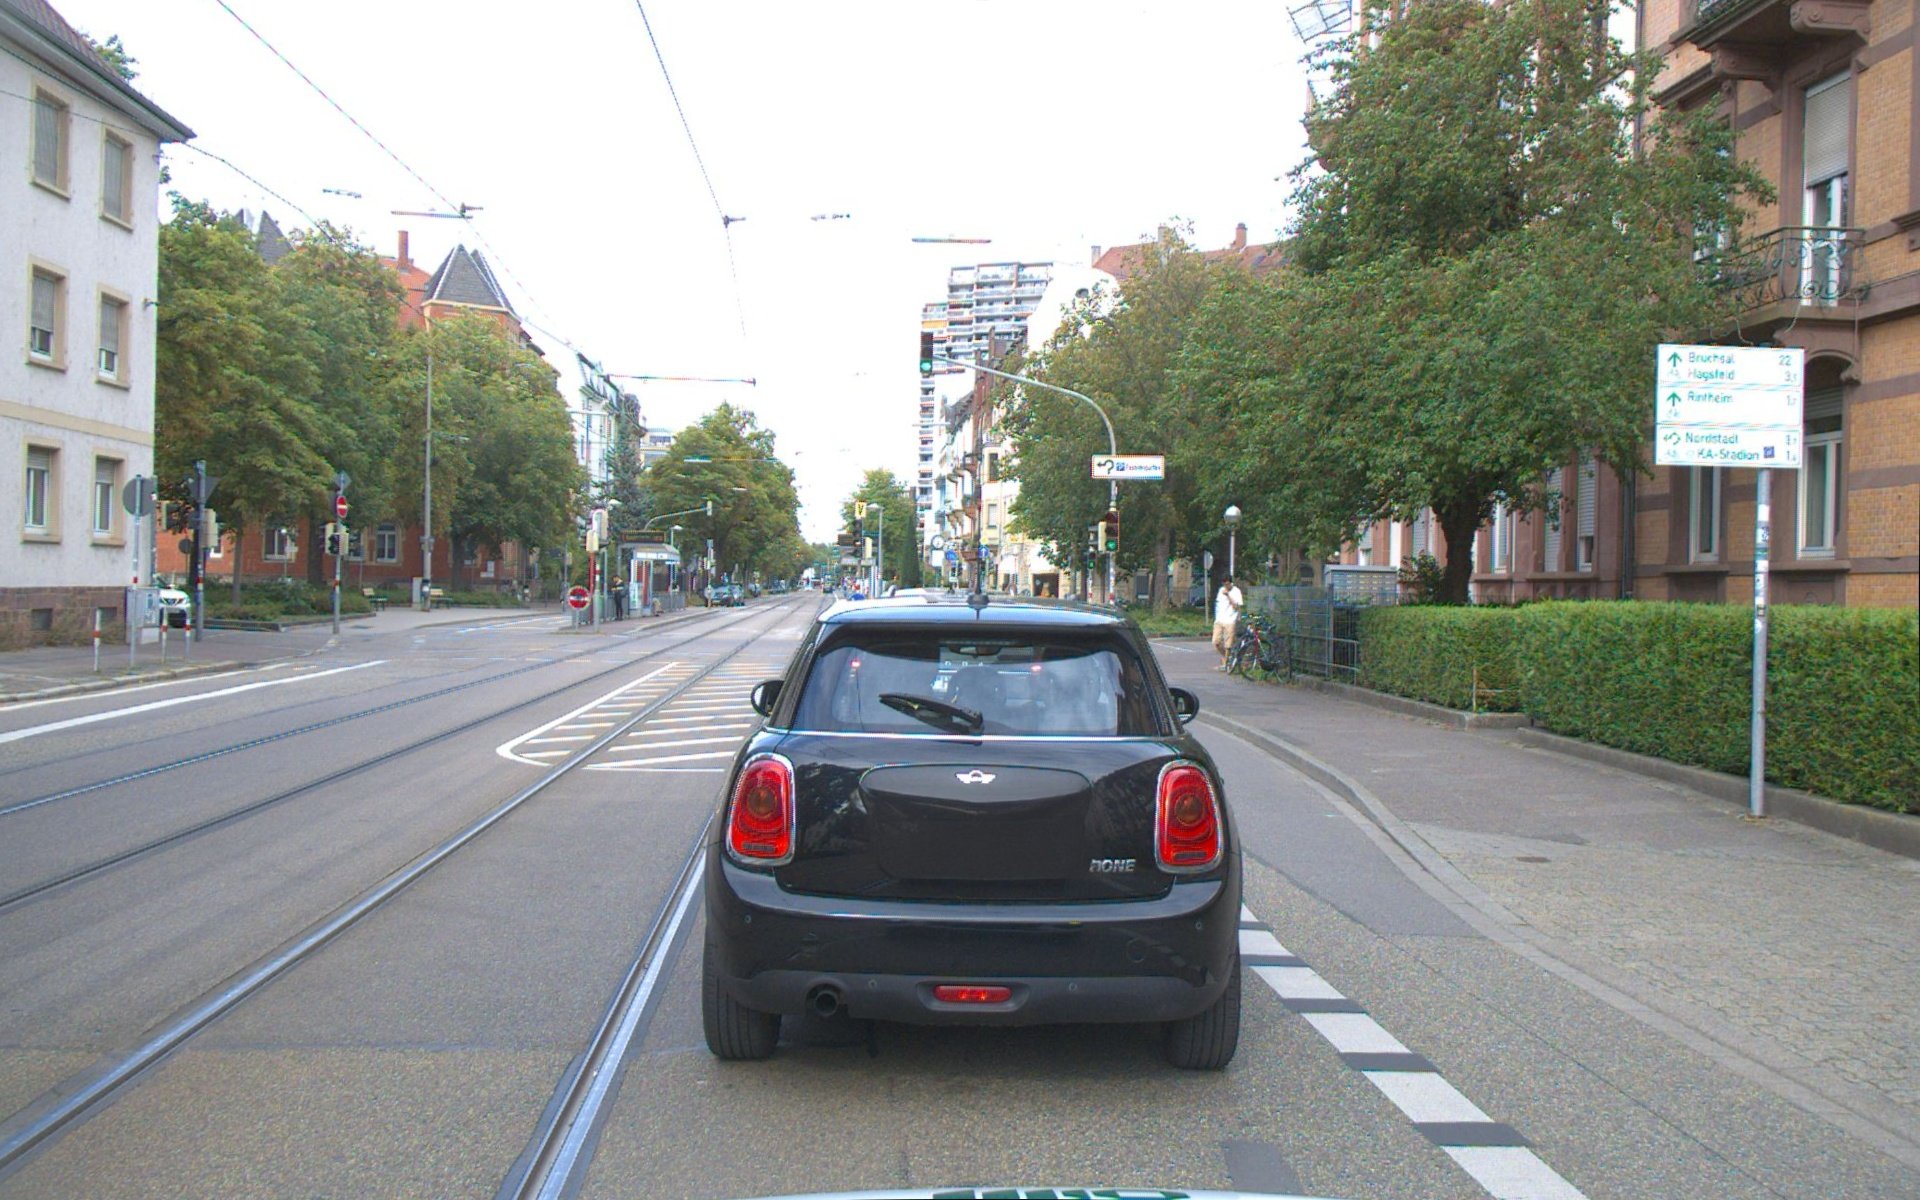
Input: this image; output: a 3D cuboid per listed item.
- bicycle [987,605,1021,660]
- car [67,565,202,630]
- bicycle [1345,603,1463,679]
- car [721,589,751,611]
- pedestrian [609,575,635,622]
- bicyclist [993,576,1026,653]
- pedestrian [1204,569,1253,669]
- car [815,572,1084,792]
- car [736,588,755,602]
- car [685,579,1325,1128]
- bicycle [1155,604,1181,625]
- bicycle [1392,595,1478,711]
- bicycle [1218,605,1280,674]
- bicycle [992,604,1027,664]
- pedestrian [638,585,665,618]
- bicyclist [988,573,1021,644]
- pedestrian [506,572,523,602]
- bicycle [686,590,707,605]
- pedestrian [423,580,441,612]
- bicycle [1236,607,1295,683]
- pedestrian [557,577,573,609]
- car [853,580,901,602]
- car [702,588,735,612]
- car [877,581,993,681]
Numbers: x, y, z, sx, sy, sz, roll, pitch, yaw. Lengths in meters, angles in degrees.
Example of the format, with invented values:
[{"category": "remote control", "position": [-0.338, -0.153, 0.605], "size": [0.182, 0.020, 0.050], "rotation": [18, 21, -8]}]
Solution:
[{"category": "bicycle", "position": [0.994, 0.728, 37.700], "size": [0.670, 1.190, 1.696], "rotation": [1, 0, -2]}, {"category": "car", "position": [-23.983, -0.035, 48.019], "size": [4.075, 1.751, 1.834], "rotation": [-1, -2, 36]}, {"category": "bicycle", "position": [6.229, 0.571, 23.214], "size": [1.515, 1.026, 0.509], "rotation": [1, 0, -6]}, {"category": "car", "position": [-15.945, 0.007, 117.780], "size": [1.717, 1.466, 3.998], "rotation": [3, 0, -3]}, {"category": "pedestrian", "position": [-12.084, -0.066, 59.154], "size": [0.836, 1.649, 0.841], "rotation": [1, 0, -10]}, {"category": "bicyclist", "position": [1.026, 0.300, 34.610], "size": [0.582, 1.577, 1.013], "rotation": [1, 0, -3]}, {"category": "pedestrian", "position": [4.883, 0.338, 30.158], "size": [0.715, 1.784, 0.950], "rotation": [1, 0, 0]}, {"category": "car", "position": [-0.092, 0.578, 13.774], "size": [1.887, 1.536, 3.999], "rotation": [1, 0, -1]}, {"category": "car", "position": [-25.760, -0.637, 198.517], "size": [1.954, 1.579, 3.997], "rotation": [1, 0, -4]}, {"category": "car", "position": [0.103, 0.683, 6.498], "size": [1.716, 1.466, 3.999], "rotation": [1, 0, -1]}, {"category": "bicycle", "position": [11.298, 0.794, 89.978], "size": [0.522, 1.147, 1.885], "rotation": [1, 0, 37]}, {"category": "bicycle", "position": [5.578, 0.599, 19.507], "size": [0.505, 1.304, 1.549], "rotation": [1, 0, -2]}, {"category": "bicycle", "position": [4.968, 0.659, 28.529], "size": [0.658, 1.125, 1.671], "rotation": [1, 0, -4]}, {"category": "bicycle", "position": [1.018, 0.701, 34.616], "size": [0.586, 1.190, 1.696], "rotation": [1, 0, -3]}, {"category": "pedestrian", "position": [-12.505, 0.060, 67.114], "size": [1.039, 1.316, 0.984], "rotation": [1, 0, -10]}, {"category": "bicyclist", "position": [1.004, 0.190, 37.648], "size": [0.670, 1.591, 0.998], "rotation": [1, 0, -2]}, {"category": "pedestrian", "position": [-25.613, -0.740, 95.062], "size": [0.817, 1.732, 0.731], "rotation": [1, 0, -10]}, {"category": "bicycle", "position": [-20.665, -0.206, 129.704], "size": [1.659, 1.138, 0.564], "rotation": [0, 0, -44]}, {"category": "pedestrian", "position": [-28.860, -0.236, 90.410], "size": [0.817, 1.732, 0.731], "rotation": [1, 0, -10]}, {"category": "bicycle", "position": [4.749, 0.682, 25.784], "size": [0.498, 1.107, 1.549], "rotation": [-2, 1, -4]}, {"category": "pedestrian", "position": [-21.787, -0.386, 91.185], "size": [0.680, 1.749, 0.758], "rotation": [1, 0, -3]}, {"category": "car", "position": [-9.153, -0.937, 182.387], "size": [2.357, 2.312, 5.002], "rotation": [1, 0, 45]}, {"category": "car", "position": [-16.061, -0.015, 110.137], "size": [1.717, 1.466, 3.998], "rotation": [3, 0, -3]}, {"category": "car", "position": [-0.447, 0.455, 26.971], "size": [1.716, 1.466, 4.478], "rotation": [1, 0, -2]}]
